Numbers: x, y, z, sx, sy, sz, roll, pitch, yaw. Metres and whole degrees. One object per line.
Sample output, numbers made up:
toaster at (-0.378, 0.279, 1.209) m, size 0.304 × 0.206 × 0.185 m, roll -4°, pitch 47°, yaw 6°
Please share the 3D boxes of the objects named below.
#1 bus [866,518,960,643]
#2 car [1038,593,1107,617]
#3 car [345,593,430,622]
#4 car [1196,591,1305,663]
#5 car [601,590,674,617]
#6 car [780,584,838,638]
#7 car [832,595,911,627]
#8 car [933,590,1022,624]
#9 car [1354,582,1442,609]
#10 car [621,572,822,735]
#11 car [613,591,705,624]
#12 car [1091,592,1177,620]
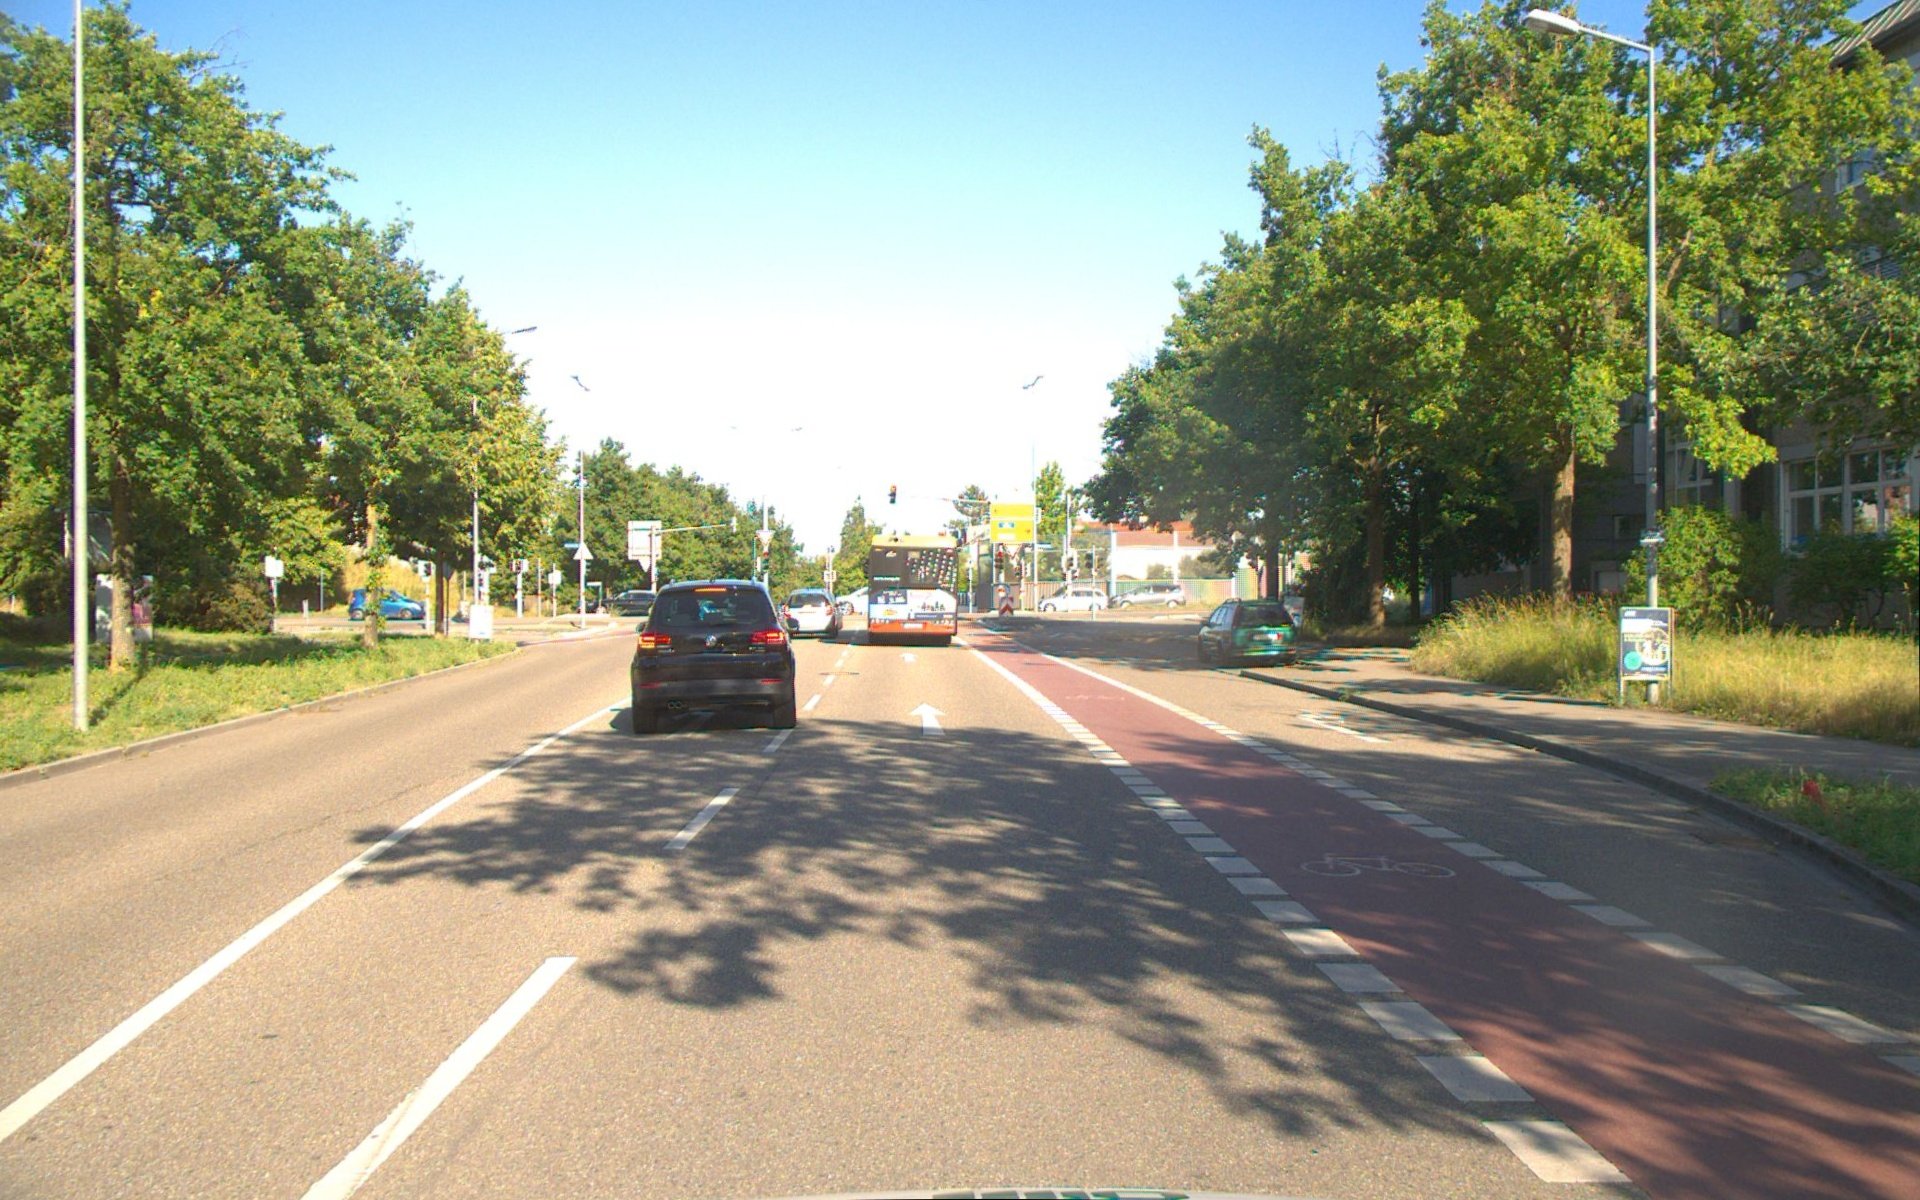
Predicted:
bus at (-1.518, -0.577, 51.442) m, size 2.544 × 3.393 × 11.978 m, roll 1°, pitch 0°, yaw -2°
car at (6.589, 0.293, 97.297) m, size 3.774 × 1.363 × 1.680 m, roll 1°, pitch -1°, yaw -8°
car at (-28.602, 0.380, 82.755) m, size 3.777 × 1.409 × 1.678 m, roll 1°, pitch -1°, yaw -11°
car at (6.416, 0.568, 36.925) m, size 1.560 × 1.453 × 4.202 m, roll -2°, pitch 0°, yaw -1°
car at (-17.502, 0.208, 89.912) m, size 3.822 × 1.363 × 1.678 m, roll 1°, pitch -1°, yaw -11°
car at (-5.052, 0.340, 54.820) m, size 1.721 × 1.648 × 4.026 m, roll 0°, pitch 2°, yaw -8°
car at (-4.941, 0.596, 92.034) m, size 4.300 × 1.713 × 1.709 m, roll 1°, pitch -1°, yaw -7°
car at (0.726, 0.266, 66.958) m, size 3.447 × 1.325 × 1.576 m, roll 0°, pitch 0°, yaw 6°
car at (25.608, -0.284, 96.742) m, size 4.612 × 1.567 × 1.997 m, roll 0°, pitch 0°, yaw -6°
car at (-2.680, 0.579, 19.426) m, size 1.784 × 1.703 × 4.002 m, roll -1°, pitch -1°, yaw 0°
car at (-14.201, 0.358, 78.260) m, size 4.141 × 1.506 × 1.761 m, roll 1°, pitch -1°, yaw -7°
car at (9.955, 0.345, 94.711) m, size 4.614 × 1.567 × 1.996 m, roll 0°, pitch 0°, yaw -8°
